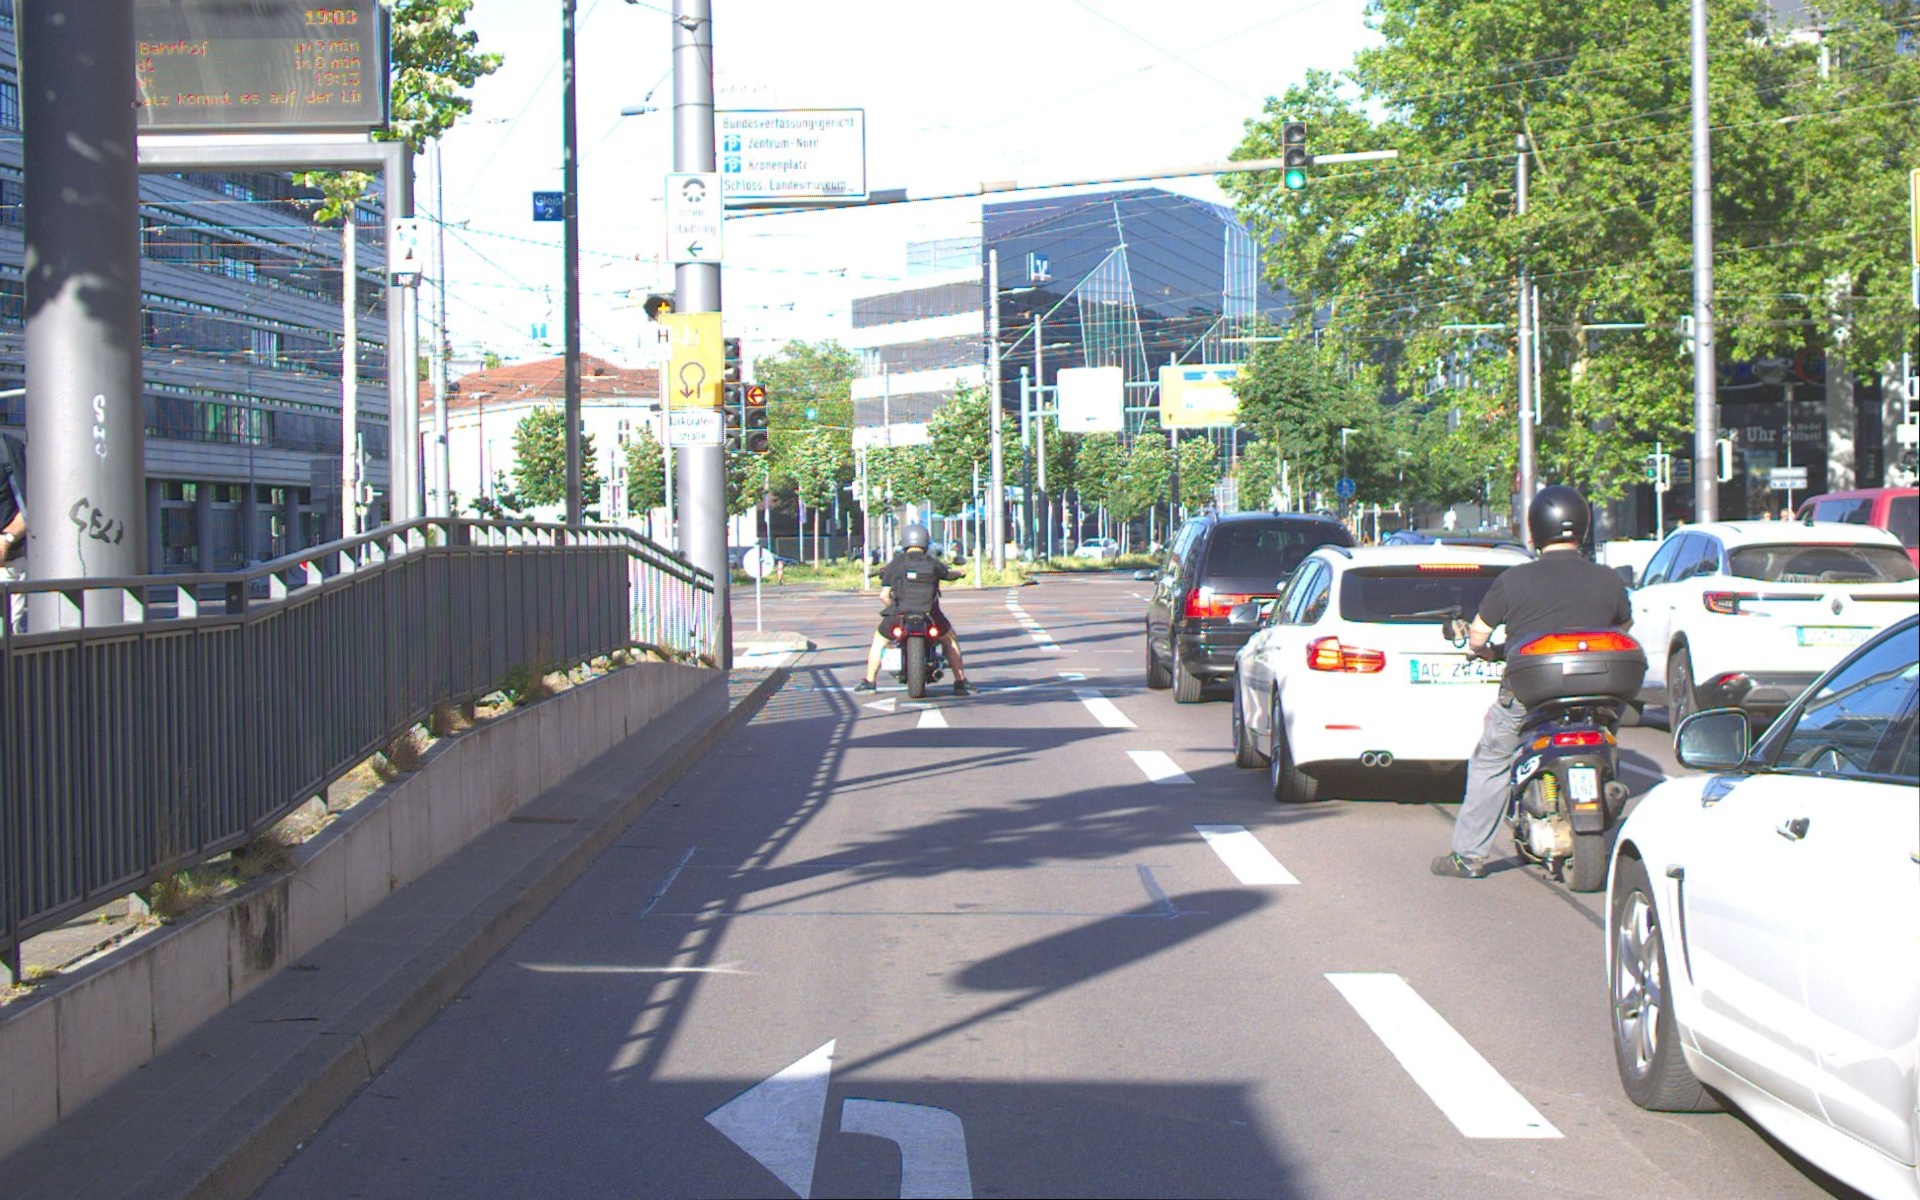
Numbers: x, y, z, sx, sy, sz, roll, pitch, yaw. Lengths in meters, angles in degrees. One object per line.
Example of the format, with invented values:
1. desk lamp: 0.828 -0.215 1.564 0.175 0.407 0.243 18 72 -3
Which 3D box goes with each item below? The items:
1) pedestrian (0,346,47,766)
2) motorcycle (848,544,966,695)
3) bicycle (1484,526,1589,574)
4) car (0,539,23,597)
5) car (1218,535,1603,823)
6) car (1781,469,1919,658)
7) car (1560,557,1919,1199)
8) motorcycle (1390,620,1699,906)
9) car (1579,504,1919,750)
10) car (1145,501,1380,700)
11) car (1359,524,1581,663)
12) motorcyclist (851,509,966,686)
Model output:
1. pedestrian: -4.018 -0.179 13.869 0.519 1.663 0.550 0 1 0
2. motorcycle: -0.468 0.146 31.878 1.019 1.307 2.915 1 1 0
3. bicycle: 15.312 -1.328 91.387 2.693 1.240 0.527 0 1 23
4. car: -25.524 -0.804 88.084 1.993 1.459 4.000 -1 1 -1
5. car: 2.554 0.378 20.454 1.692 1.491 4.409 1 1 0
6. car: 10.371 -0.428 37.612 1.860 1.954 4.000 -1 1 1
7. car: 2.633 0.647 7.403 1.780 1.409 4.819 1 1 0
8. motorcycle: 2.491 0.658 14.986 0.837 1.058 2.553 -1 1 -1
9. car: 5.853 0.129 25.095 1.851 1.634 4.379 0 1 0
10. car: 2.694 -0.039 31.451 1.798 1.699 4.063 0 1 0
11. car: 5.744 -0.114 39.220 1.851 1.492 4.379 0 1 0
12. motorcyclist: -0.471 -0.030 31.987 1.019 1.598 1.148 1 1 0
